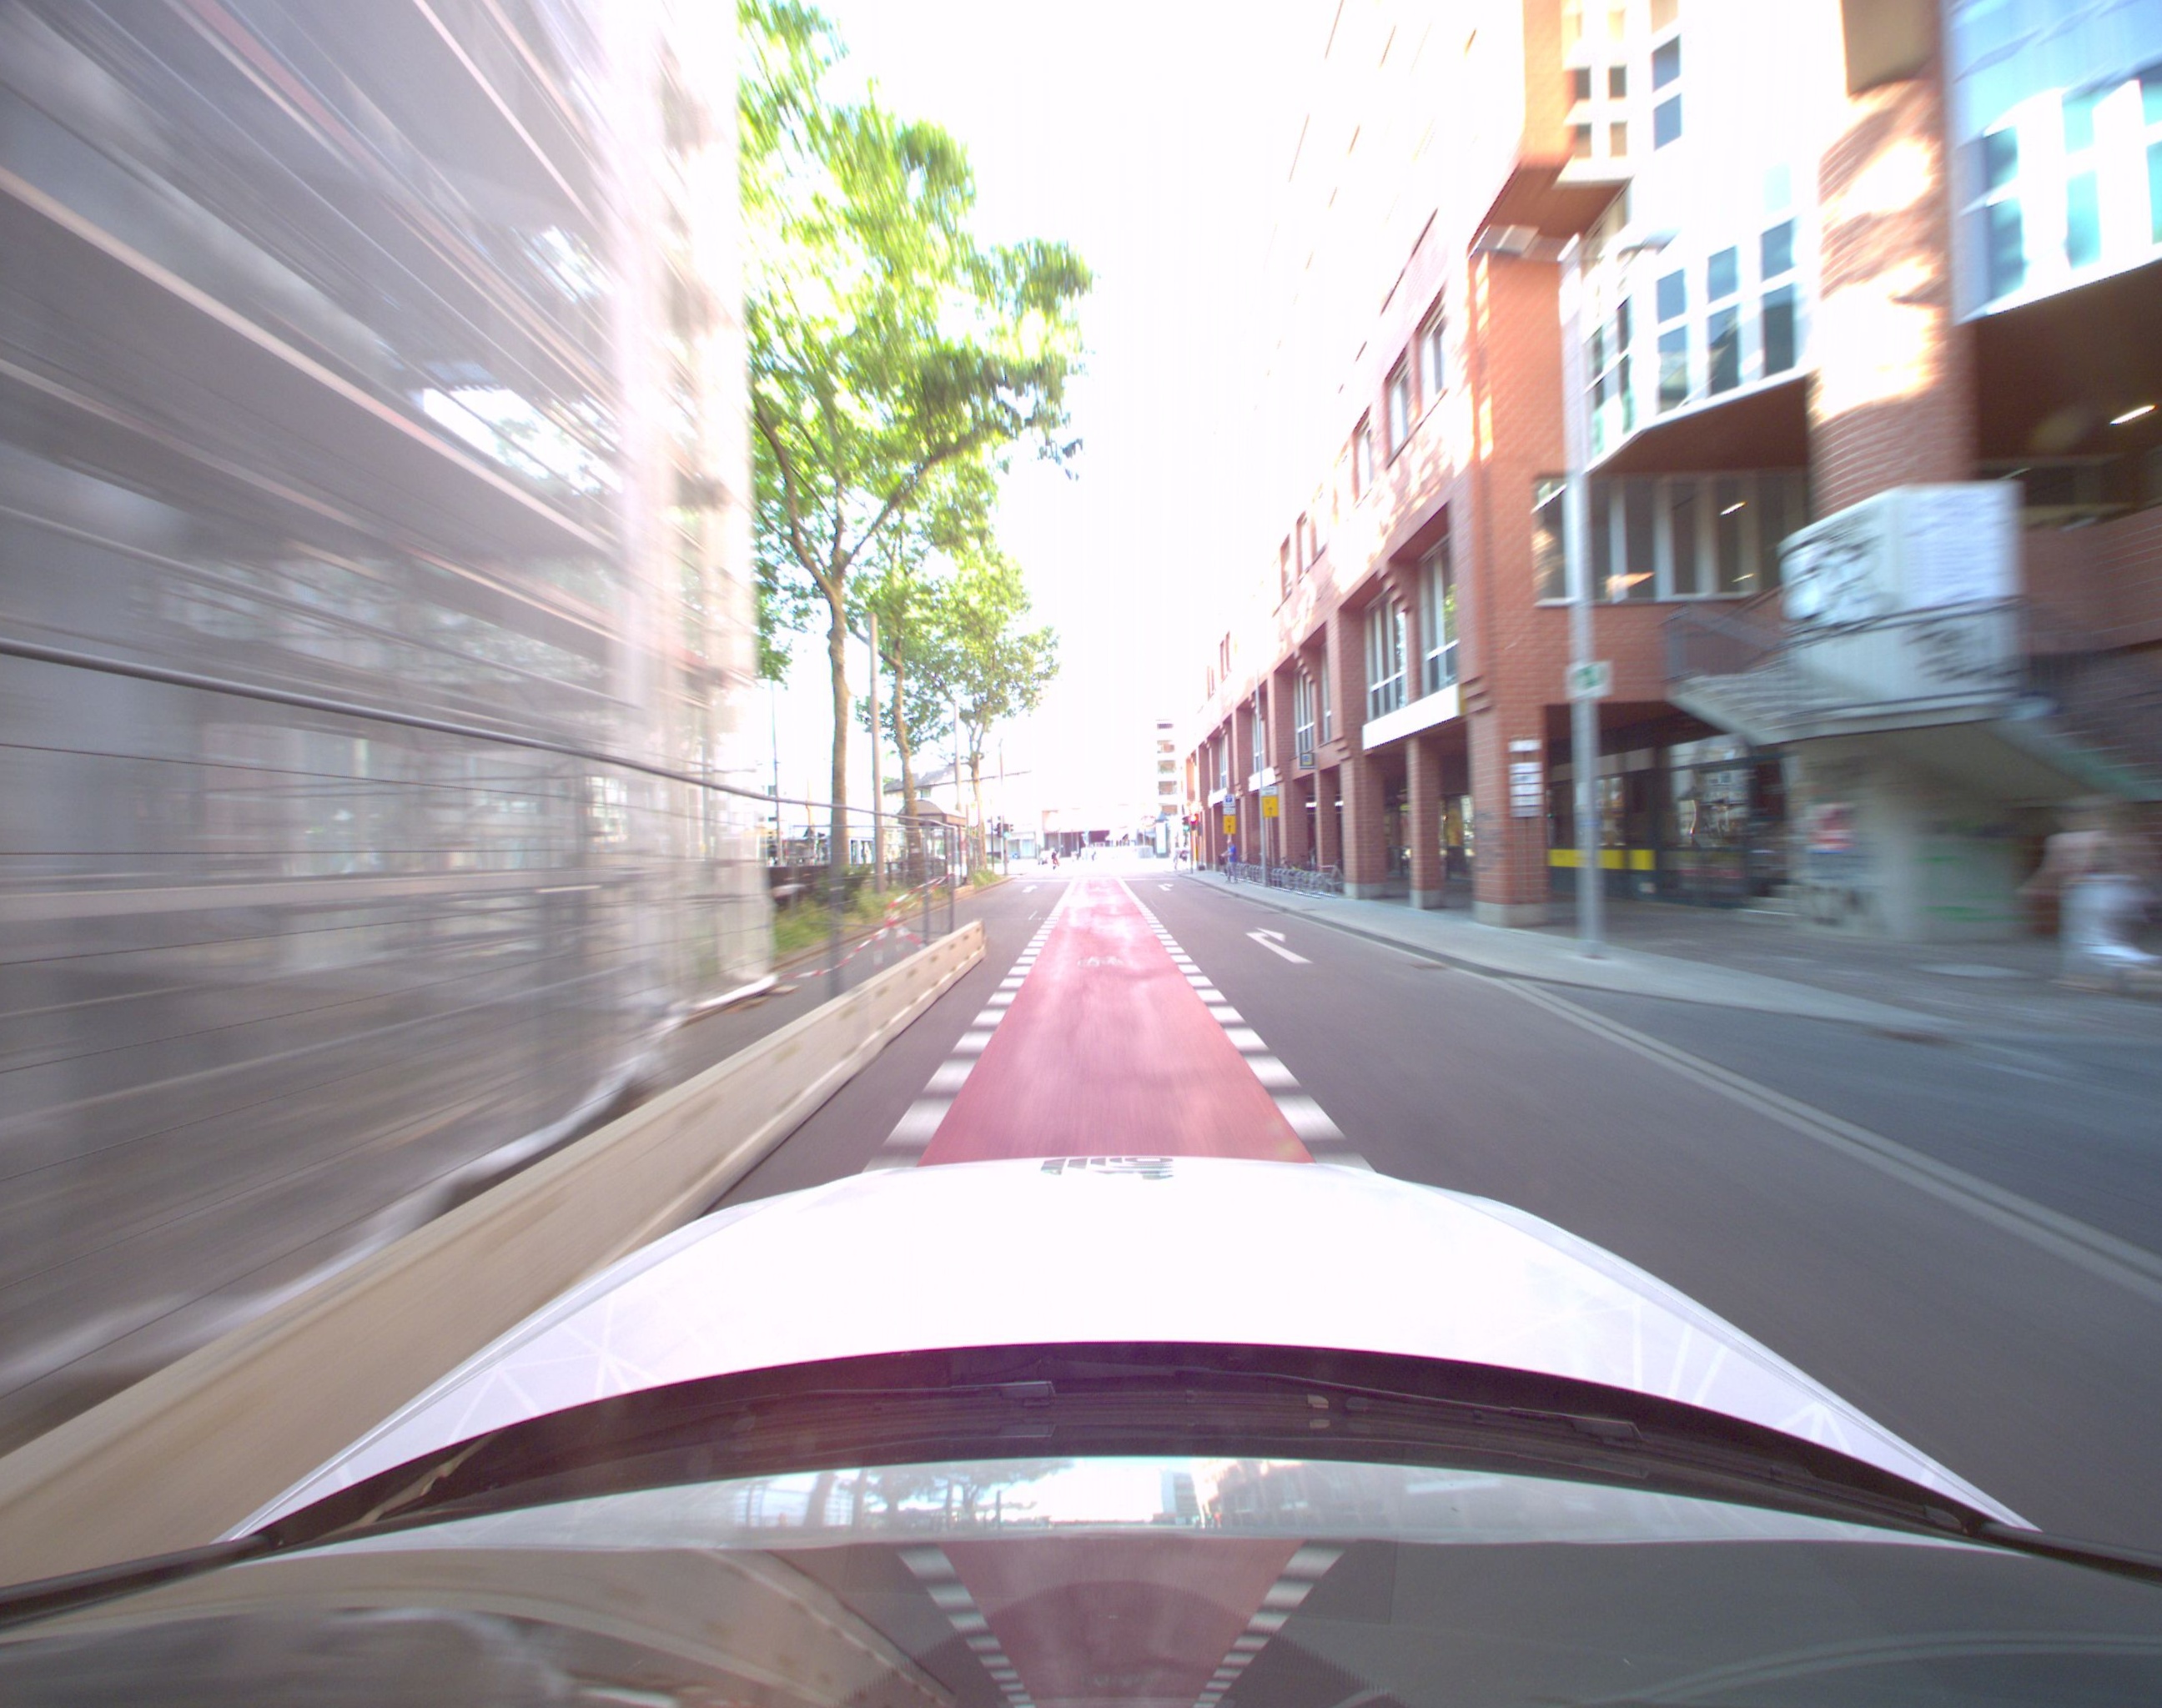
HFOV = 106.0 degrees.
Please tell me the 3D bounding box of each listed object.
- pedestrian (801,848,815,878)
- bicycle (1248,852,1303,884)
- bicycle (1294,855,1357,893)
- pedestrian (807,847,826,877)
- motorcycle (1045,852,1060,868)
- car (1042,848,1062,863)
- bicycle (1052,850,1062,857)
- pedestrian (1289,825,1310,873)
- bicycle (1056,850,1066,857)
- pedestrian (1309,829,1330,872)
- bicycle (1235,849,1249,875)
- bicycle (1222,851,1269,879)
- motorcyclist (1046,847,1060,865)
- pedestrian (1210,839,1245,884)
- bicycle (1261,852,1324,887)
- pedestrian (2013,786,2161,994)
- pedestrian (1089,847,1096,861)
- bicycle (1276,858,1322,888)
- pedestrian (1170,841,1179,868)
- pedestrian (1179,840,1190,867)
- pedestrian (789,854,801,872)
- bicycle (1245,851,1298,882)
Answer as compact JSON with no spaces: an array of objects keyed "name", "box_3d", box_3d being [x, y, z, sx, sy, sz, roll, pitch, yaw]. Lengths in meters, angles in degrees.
[{"name":"pedestrian","box_3d":[-15.542,0.498,46.399,0.564,1.679,0.531,-2,0,2]},{"name":"bicycle","box_3d":[7.251,0.510,30.405,1.885,1.119,0.550,-2,0,0]},{"name":"bicycle","box_3d":[7.067,0.574,23.590,1.605,0.955,0.555,-4,0,2]},{"name":"pedestrian","box_3d":[-15.313,0.463,47.207,0.775,1.734,0.848,-2,0,-2]},{"name":"motorcycle","box_3d":[-2.068,0.405,60.147,0.970,1.131,2.805,0,0,0]},{"name":"car","box_3d":[-2.870,0.102,82.141,1.918,1.388,3.998,-2,1,-1]},{"name":"bicycle","box_3d":[-3.475,-0.059,117.041,0.499,1.038,1.618,0,0,-44]},{"name":"pedestrian","box_3d":[9.367,-0.209,34.896,0.606,2.013,0.660,-2,0,-5]},{"name":"bicycle","box_3d":[-2.924,-0.068,117.529,0.499,1.038,1.618,0,0,-44]},{"name":"pedestrian","box_3d":[10.103,-0.143,34.512,0.657,1.795,0.608,-2,0,-4]},{"name":"bicycle","box_3d":[7.519,0.367,38.034,0.338,1.183,1.679,-2,0,2]},{"name":"bicycle","box_3d":[6.967,0.463,34.521,1.885,1.119,0.475,-2,0,0]},{"name":"motorcyclist","box_3d":[-2.076,0.158,60.100,0.967,1.347,1.138,0,0,0]},{"name":"pedestrian","box_3d":[5.828,0.284,32.446,1.189,1.696,0.886,-4,0,3]},{"name":"bicycle","box_3d":[7.173,0.530,27.650,1.924,1.057,0.573,-4,0,3]},{"name":"pedestrian","box_3d":[8.503,0.278,6.790,0.567,1.633,0.778,-1,0,0]},{"name":"pedestrian","box_3d":[1.318,-0.021,91.197,0.544,1.583,0.550,-2,0,-42]},{"name":"bicycle","box_3d":[7.059,0.615,26.342,1.328,0.841,0.425,-4,0,2]},{"name":"pedestrian","box_3d":[6.095,0.031,52.963,0.474,1.792,0.541,-1,0,0]},{"name":"pedestrian","box_3d":[6.690,-0.006,52.729,0.631,1.725,0.630,-1,0,0]},{"name":"pedestrian","box_3d":[-27.800,0.845,79.183,0.802,1.724,0.776,-1,0,1]},{"name":"bicycle","box_3d":[7.286,0.477,31.144,1.885,1.119,0.475,-2,0,0]}]
